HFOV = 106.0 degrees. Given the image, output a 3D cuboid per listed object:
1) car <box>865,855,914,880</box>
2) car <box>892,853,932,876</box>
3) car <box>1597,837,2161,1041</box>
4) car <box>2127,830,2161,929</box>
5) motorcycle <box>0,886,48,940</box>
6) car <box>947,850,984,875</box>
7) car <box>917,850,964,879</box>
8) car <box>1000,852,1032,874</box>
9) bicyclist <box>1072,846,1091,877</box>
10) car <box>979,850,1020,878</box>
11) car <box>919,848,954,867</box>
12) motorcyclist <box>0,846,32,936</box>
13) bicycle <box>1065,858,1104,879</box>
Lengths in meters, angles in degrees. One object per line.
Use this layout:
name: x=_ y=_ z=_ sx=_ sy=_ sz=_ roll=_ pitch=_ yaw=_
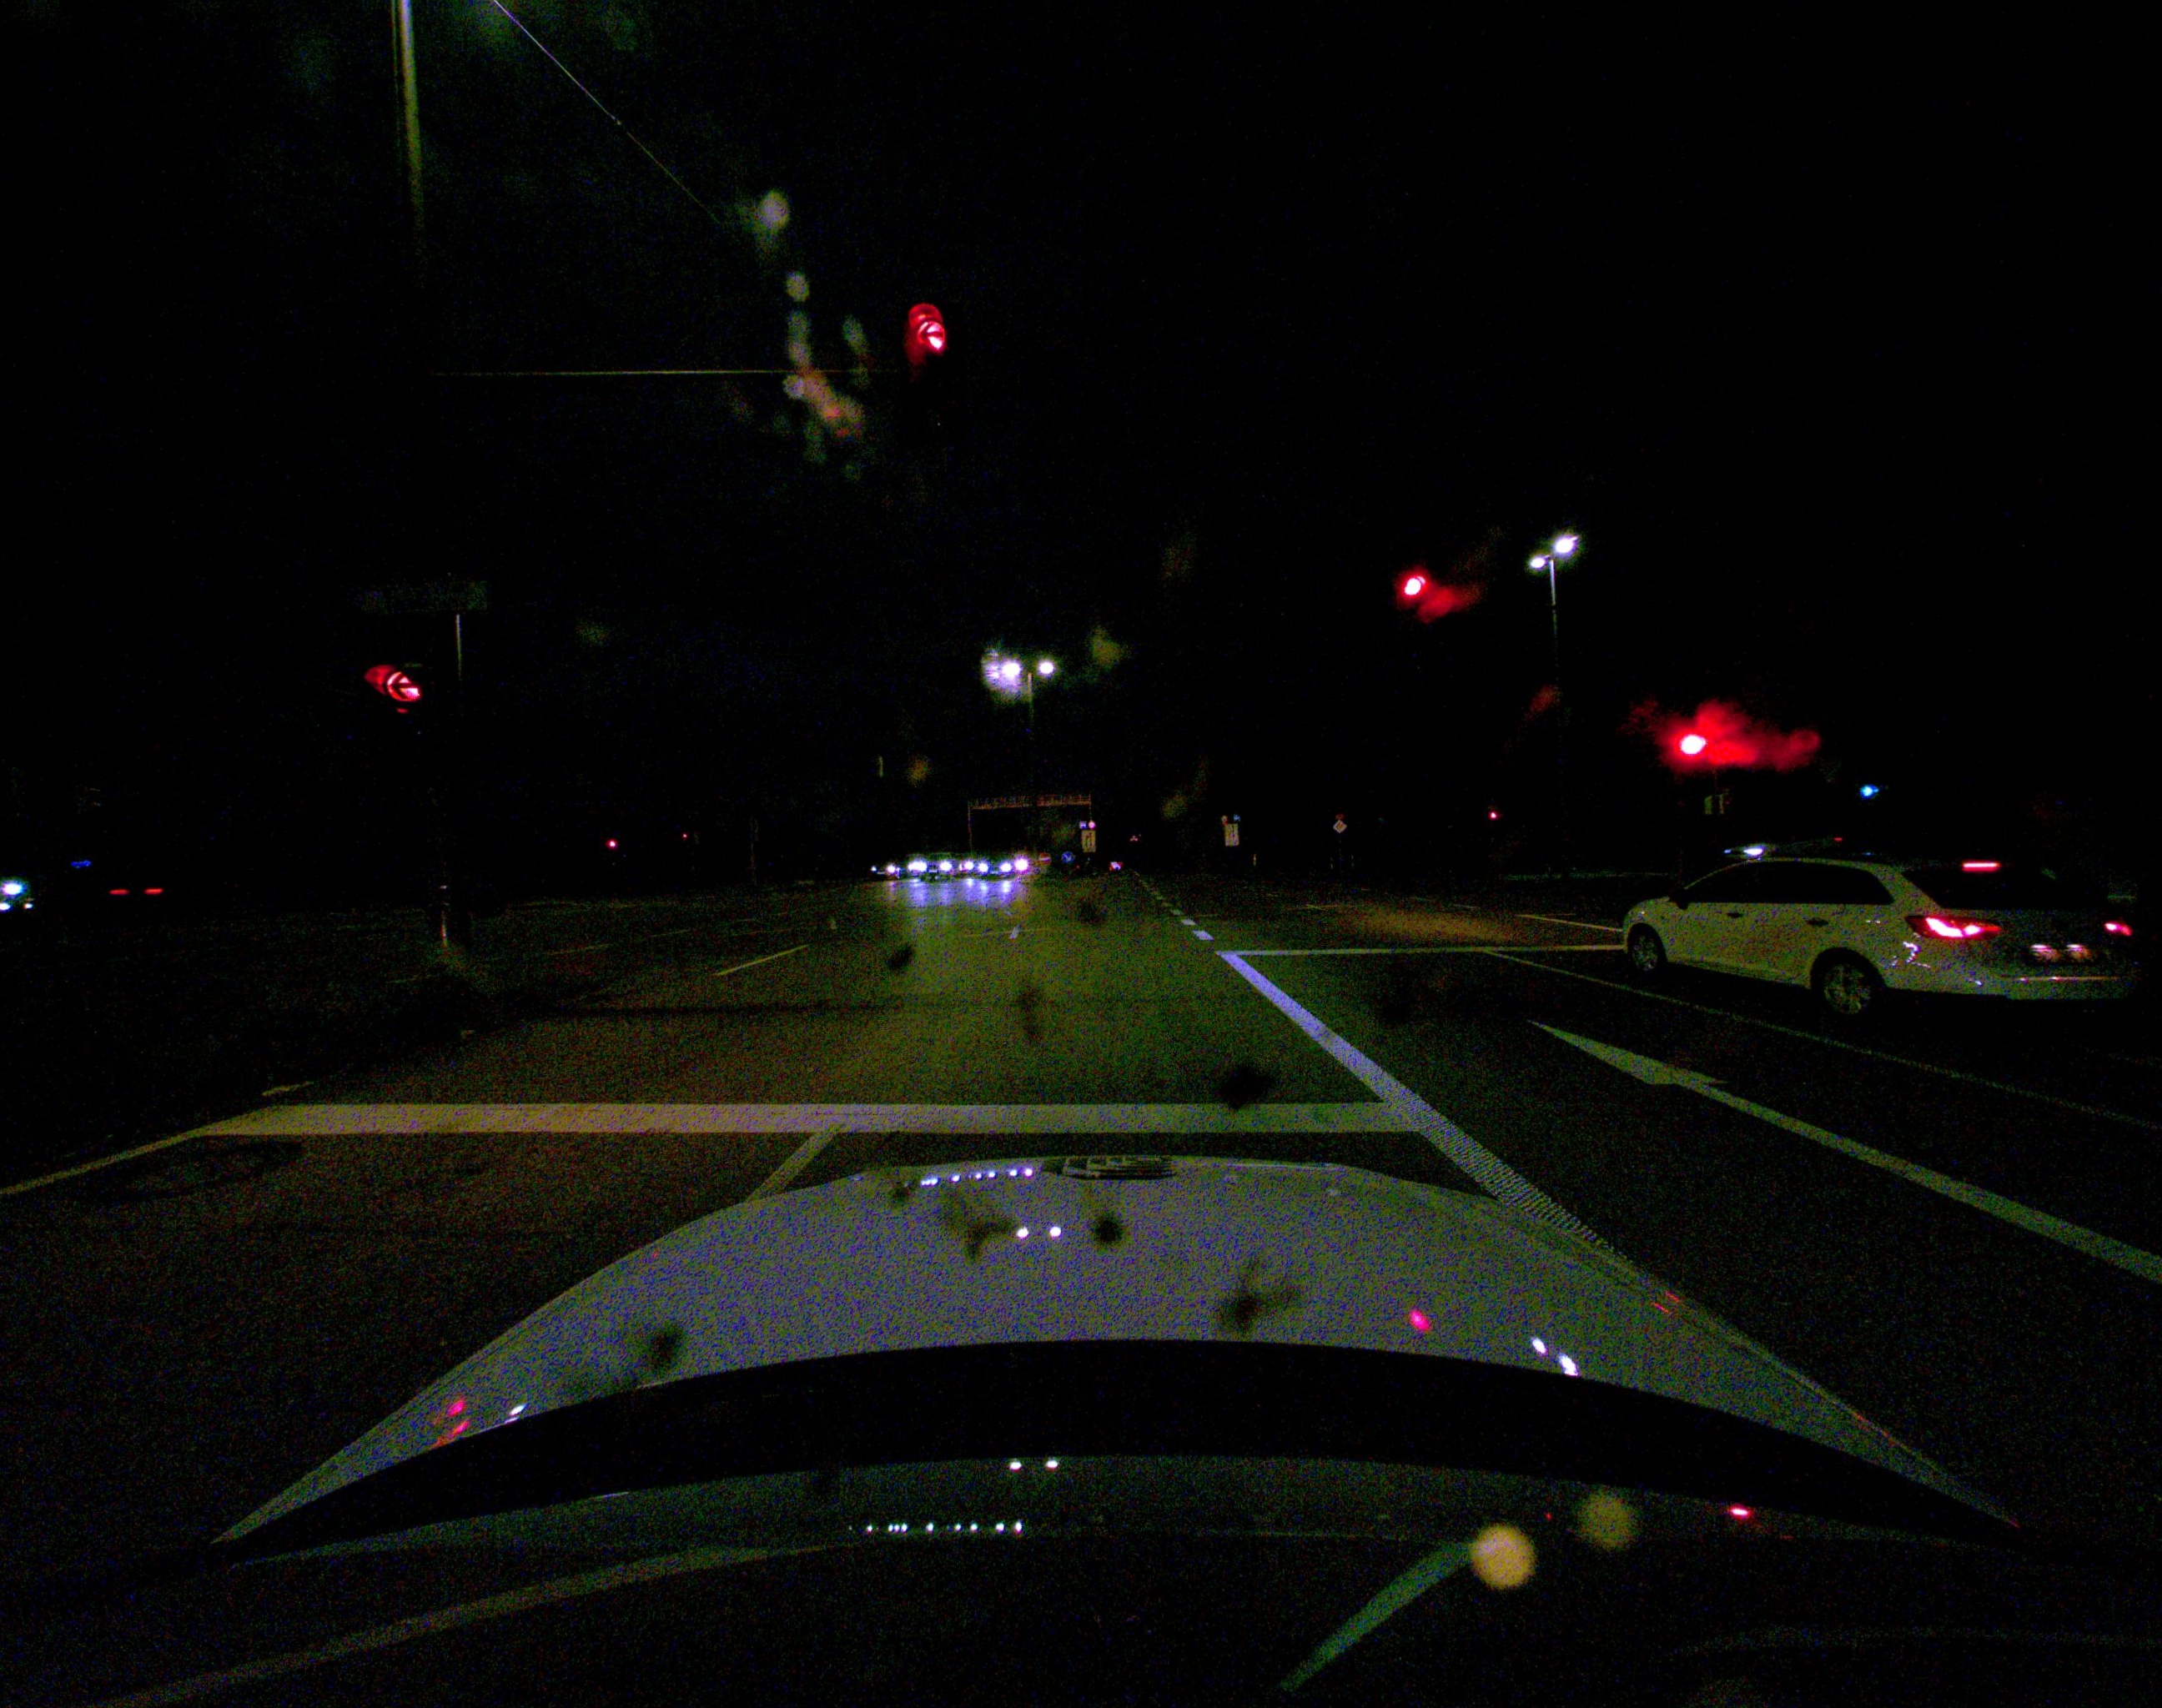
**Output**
car: x=-12.210 y=0.831 z=52.146 sx=1.772 sy=1.445 sz=4.297 roll=-1 pitch=1 yaw=5
car: x=-12.066 y=0.725 z=58.501 sx=1.824 sy=1.524 sz=4.003 roll=-2 pitch=0 yaw=3
car: x=7.203 y=0.621 z=8.006 sx=1.614 sy=1.443 sz=4.117 roll=-2 pitch=0 yaw=-1
car: x=17.289 y=0.408 z=11.635 sx=1.718 sy=1.573 sz=4.086 roll=0 pitch=0 yaw=34
motorcycle: x=-24.573 y=1.332 z=18.380 sx=1.793 sy=1.163 sz=0.674 roll=-1 pitch=0 yaw=6
car: x=-8.207 y=0.573 z=58.325 sx=1.738 sy=1.626 sz=4.367 roll=-1 pitch=1 yaw=4
car: x=-8.713 y=0.618 z=50.935 sx=1.900 sy=1.682 sz=4.424 roll=-1 pitch=1 yaw=4
car: x=-4.691 y=0.645 z=59.043 sx=1.765 sy=1.481 sz=3.914 roll=-1 pitch=0 yaw=4
bicyclist: x=0.016 y=0.421 z=44.720 sx=0.995 sy=1.651 sz=0.603 roll=-1 pitch=0 yaw=-3
car: x=-5.077 y=0.589 z=51.051 sx=1.844 sy=1.633 sz=4.589 roll=-1 pitch=1 yaw=3
car: x=-11.689 y=0.235 z=66.186 sx=1.824 sy=1.390 sz=4.401 roll=-2 pitch=1 yaw=3
motorcyclist: x=-24.733 y=0.838 z=18.589 sx=0.761 sy=2.013 sz=0.637 roll=-1 pitch=0 yaw=6
bicycle: x=0.183 y=0.799 z=44.715 sx=2.057 sy=1.101 sz=0.694 roll=-1 pitch=0 yaw=-4
